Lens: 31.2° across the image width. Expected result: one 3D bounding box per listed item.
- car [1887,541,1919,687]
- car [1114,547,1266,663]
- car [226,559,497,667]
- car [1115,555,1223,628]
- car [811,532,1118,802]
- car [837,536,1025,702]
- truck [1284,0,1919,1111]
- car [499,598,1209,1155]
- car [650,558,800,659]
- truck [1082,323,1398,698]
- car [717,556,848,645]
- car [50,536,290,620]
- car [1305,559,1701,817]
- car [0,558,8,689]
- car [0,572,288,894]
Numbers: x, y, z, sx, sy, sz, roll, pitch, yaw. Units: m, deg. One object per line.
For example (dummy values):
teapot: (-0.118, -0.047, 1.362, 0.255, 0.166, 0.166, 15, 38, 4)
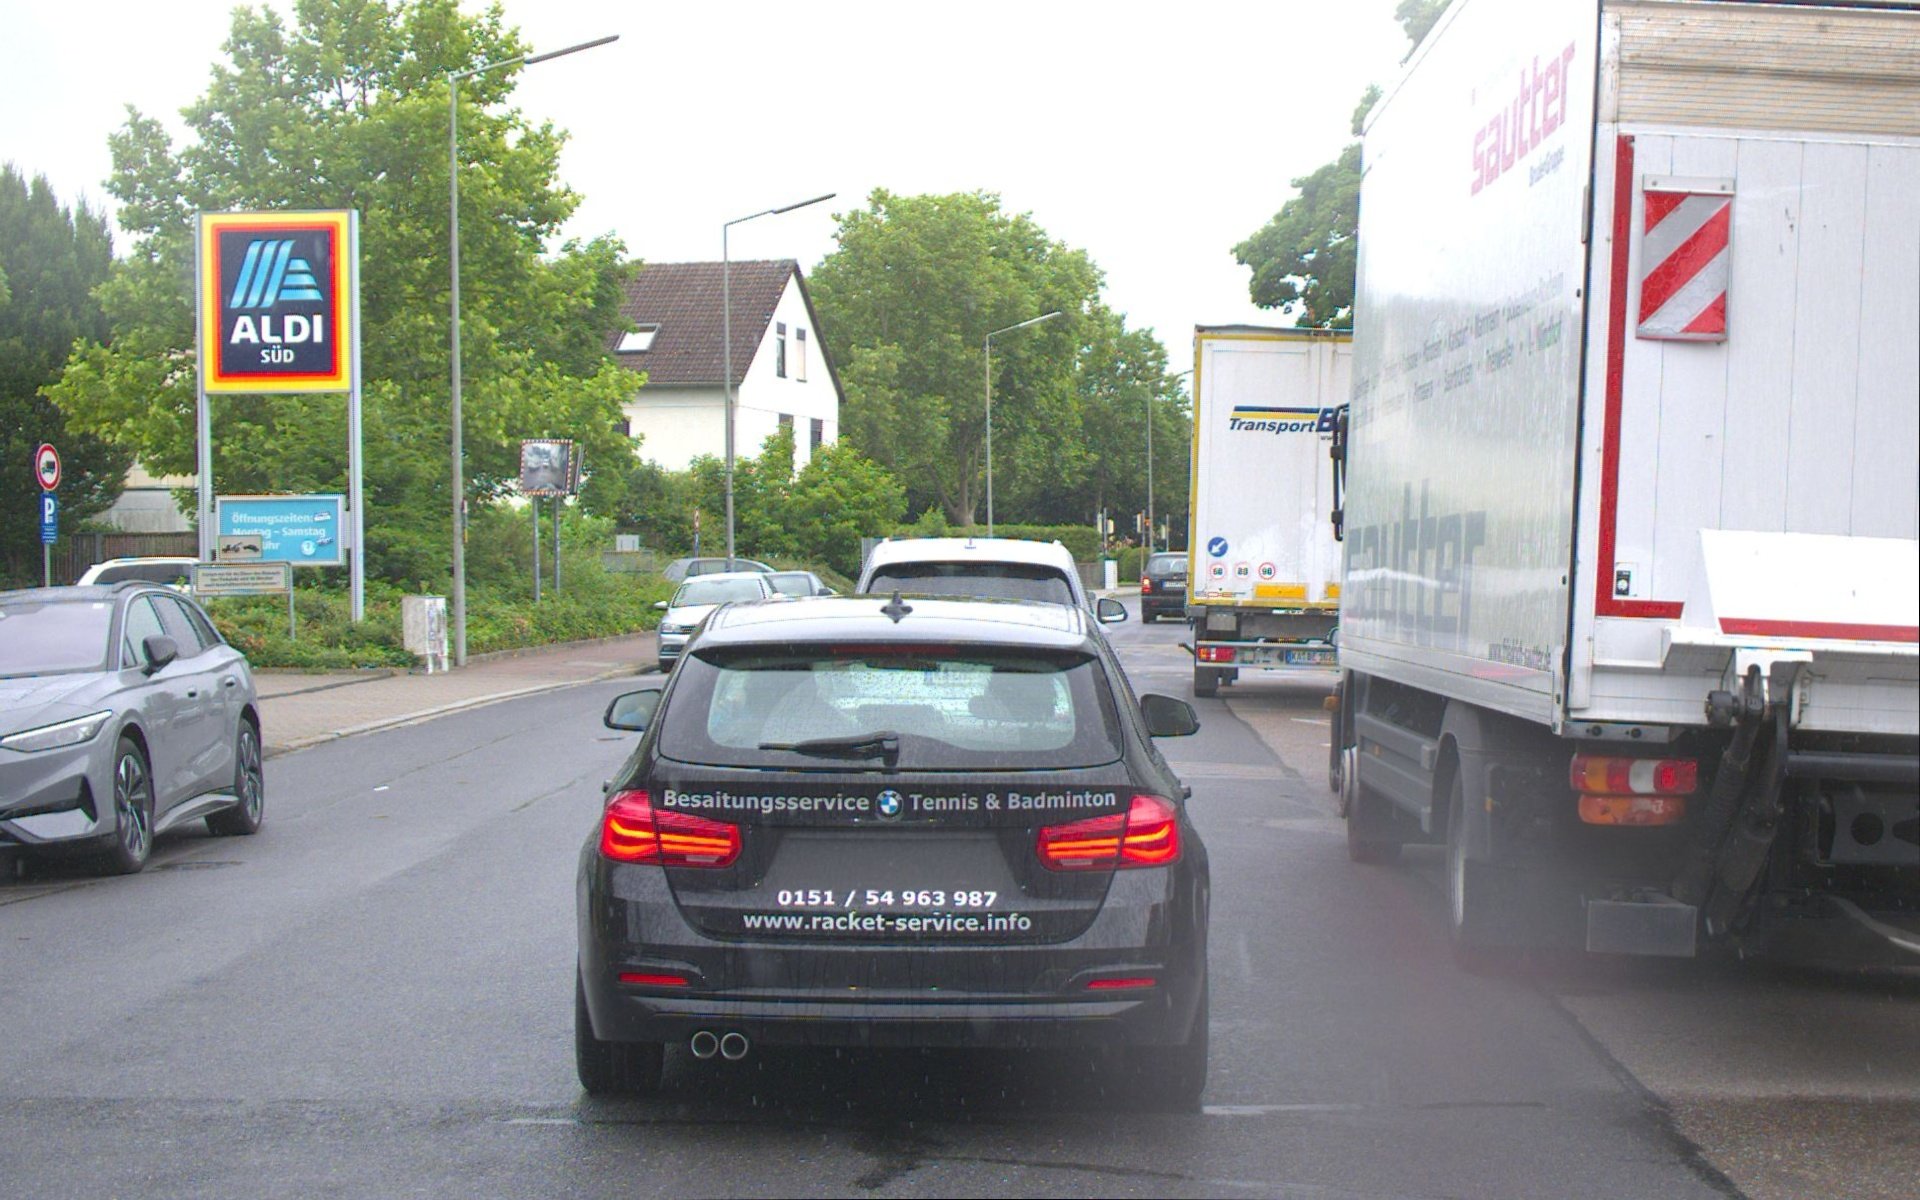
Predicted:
car: (11.733, 0.129, 33.895, 4.671, 1.463, 1.787, 0, 1, 39)
car: (3.438, 0.069, 52.048, 1.993, 1.678, 4.000, 0, 0, 0)
car: (-8.679, 0.170, 49.998, 3.570, 1.455, 1.712, 1, 1, 2)
car: (4.706, -0.193, 76.963, 1.805, 1.581, 3.998, 1, 0, 12)
car: (-0.021, 0.381, 22.333, 1.804, 1.581, 4.000, 0, 0, -1)
car: (-0.347, 0.168, 35.115, 1.804, 1.581, 4.000, 0, 0, -2)
truck: (3.176, -0.483, 14.421, 2.741, 3.776, 9.299, 2, 1, 1)
car: (-0.318, 0.708, 10.807, 1.804, 1.390, 4.000, 0, 0, -1)
car: (-3.520, 0.094, 52.231, 1.705, 1.362, 4.601, -3, 1, 2)
truck: (2.896, -0.940, 37.769, 2.741, 3.598, 7.750, 2, 1, 0)
car: (-2.967, -0.015, 58.238, 1.706, 1.362, 3.837, -3, 1, 4)
car: (-14.619, -0.414, 63.777, 3.987, 1.535, 1.910, 0, 1, 2)
car: (3.289, 0.470, 21.597, 1.797, 1.436, 4.345, -1, 1, 0)
car: (-12.714, 0.250, 37.529, 4.190, 1.455, 1.712, 0, 1, -2)
car: (-5.125, 0.673, 19.014, 1.809, 1.523, 4.748, -4, 1, 0)
